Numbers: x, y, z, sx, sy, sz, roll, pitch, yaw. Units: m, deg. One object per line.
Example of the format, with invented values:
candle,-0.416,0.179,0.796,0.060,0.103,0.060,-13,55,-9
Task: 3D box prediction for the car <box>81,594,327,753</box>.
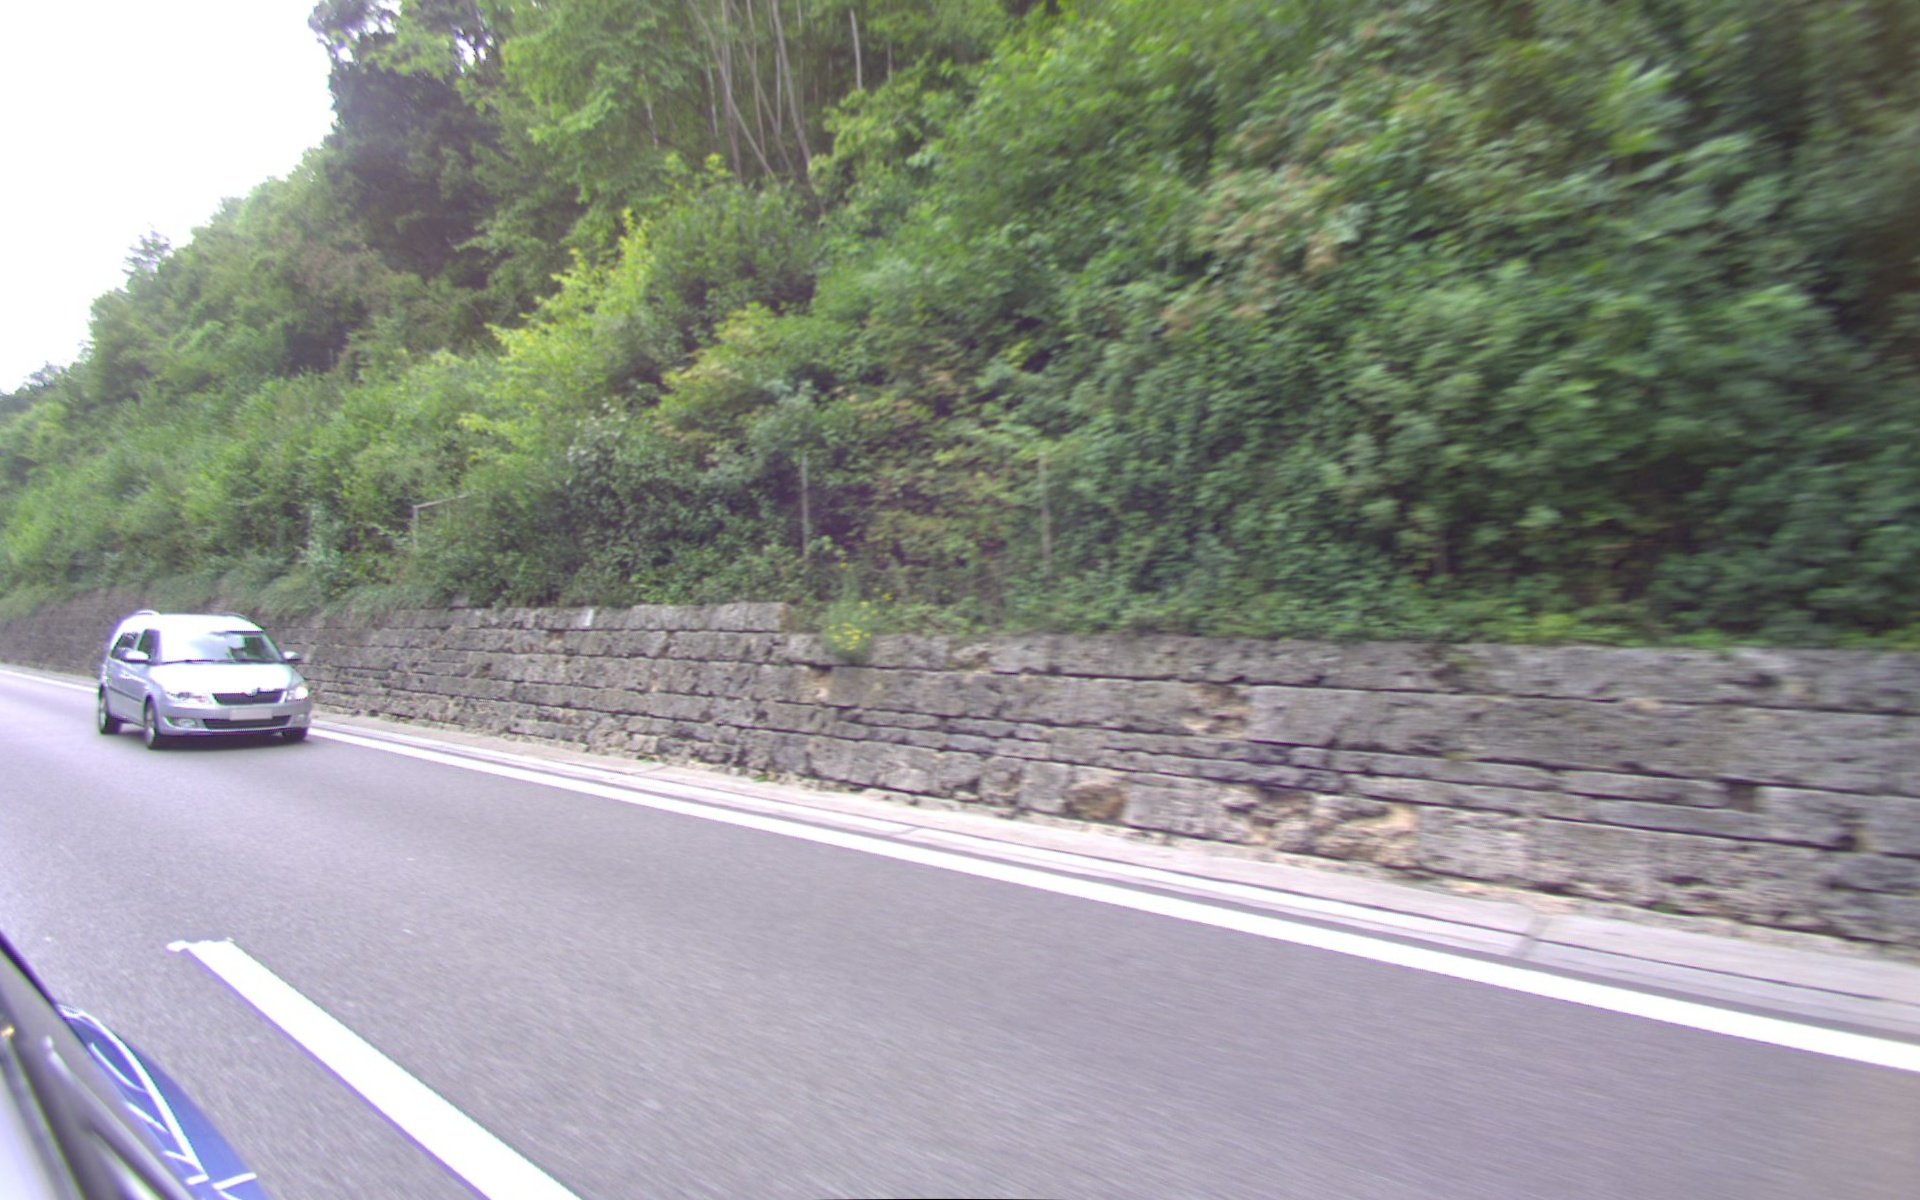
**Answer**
car,-9.938,0.882,13.175,4.342,1.740,1.617,-1,-4,41
